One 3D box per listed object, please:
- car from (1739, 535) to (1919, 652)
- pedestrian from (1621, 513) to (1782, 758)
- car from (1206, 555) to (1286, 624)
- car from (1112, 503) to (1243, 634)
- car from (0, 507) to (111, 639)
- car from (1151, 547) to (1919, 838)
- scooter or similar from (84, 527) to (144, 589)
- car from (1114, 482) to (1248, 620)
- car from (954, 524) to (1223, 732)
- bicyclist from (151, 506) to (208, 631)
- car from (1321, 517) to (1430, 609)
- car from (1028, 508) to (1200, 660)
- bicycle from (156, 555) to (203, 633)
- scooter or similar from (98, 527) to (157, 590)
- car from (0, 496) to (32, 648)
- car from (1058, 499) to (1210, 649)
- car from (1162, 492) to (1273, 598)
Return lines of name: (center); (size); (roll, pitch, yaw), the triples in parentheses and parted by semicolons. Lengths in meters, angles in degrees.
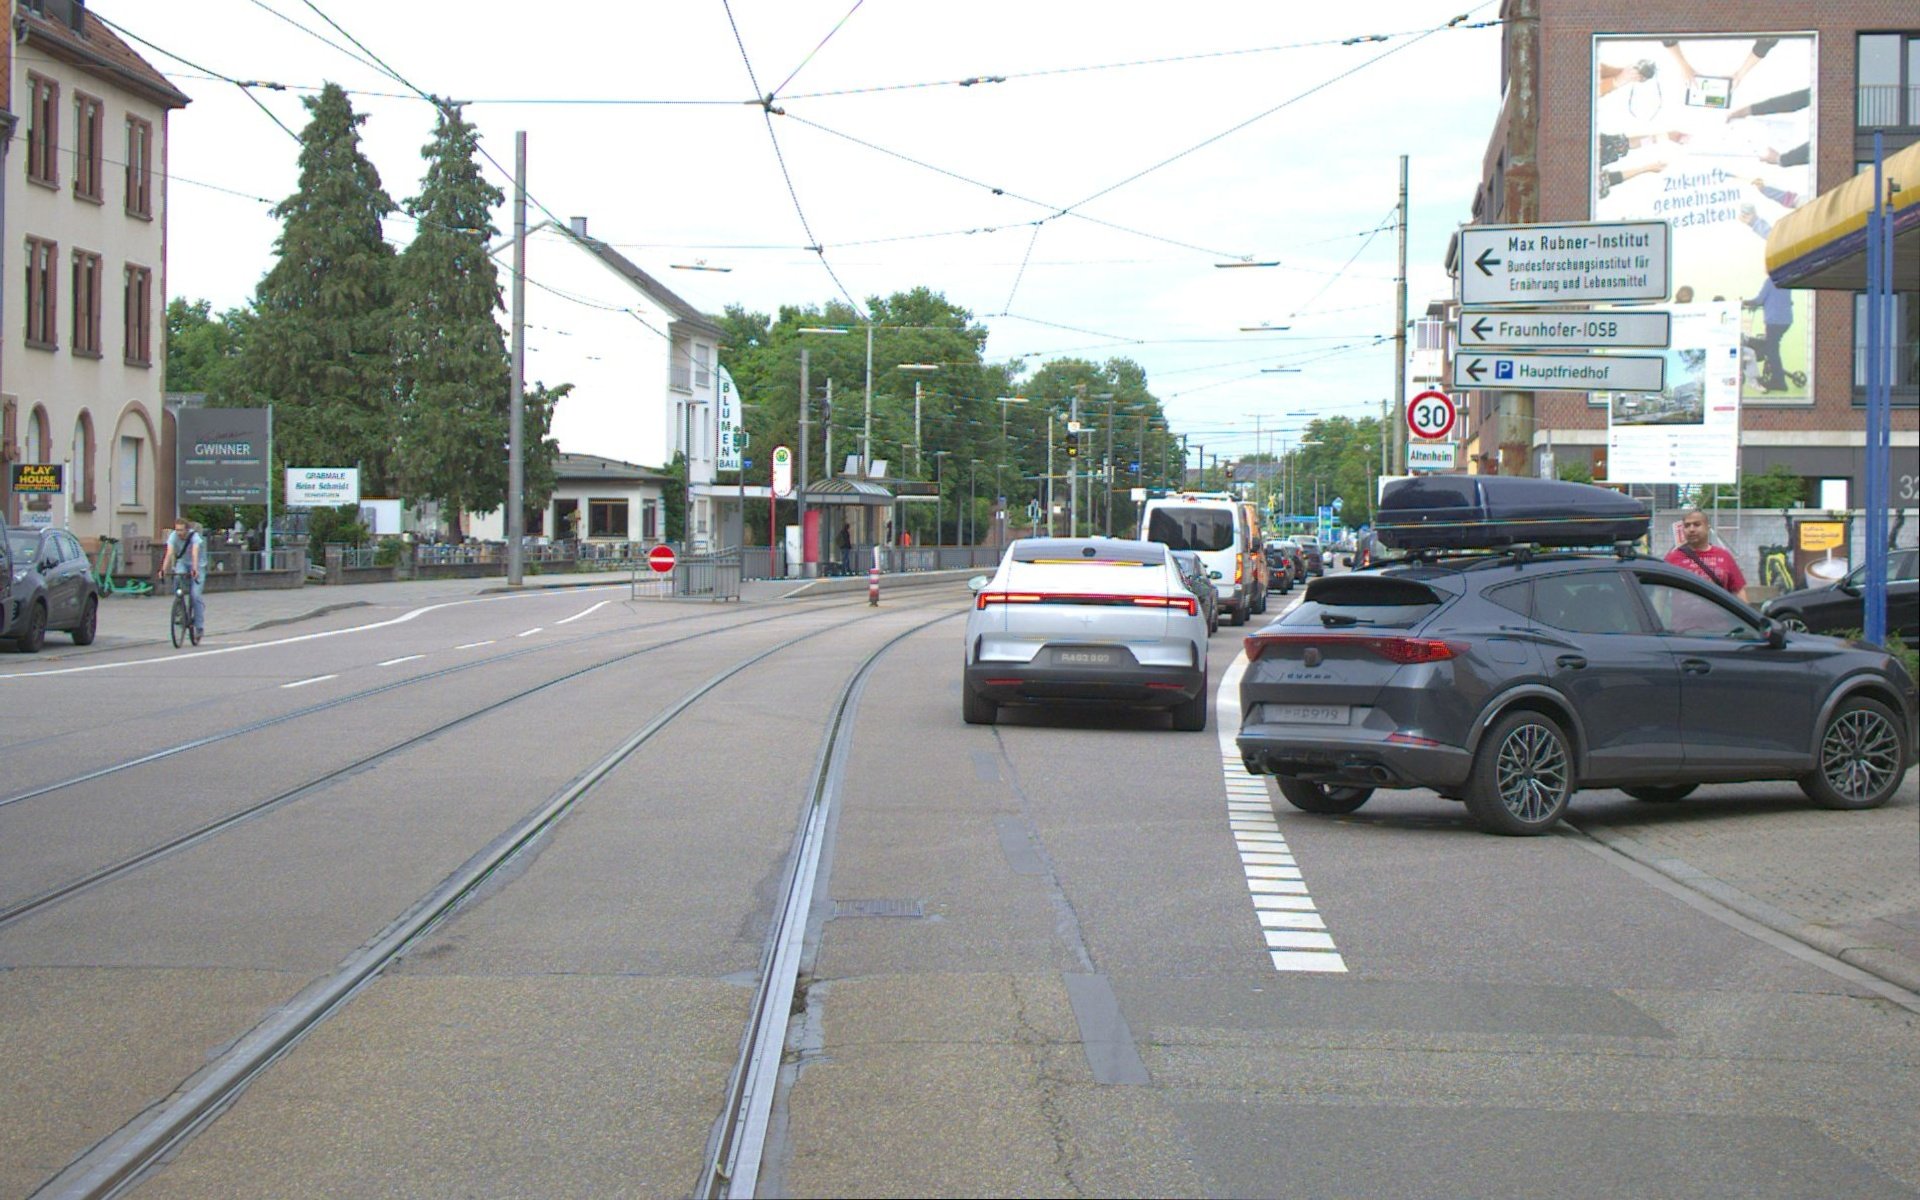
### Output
car: (12.307, -0.081, 43.290); (1.946, 1.422, 4.886); (0, 1, -33)
pedestrian: (5.386, 0.251, 25.013); (0.972, 1.732, 0.861); (-1, 0, 2)
car: (8.789, -0.334, 105.866); (1.993, 2.007, 4.000); (2, 0, -1)
car: (3.533, -0.520, 56.475); (1.994, 2.007, 4.000); (2, 0, 3)
car: (-13.123, -0.403, 47.079); (1.844, 1.712, 4.193); (2, 1, 1)
car: (3.433, 0.473, 19.722); (4.312, 1.492, 1.996); (0, 1, -34)
scooter or similar: (-16.679, -0.824, 67.784); (1.049, 1.184, 0.318); (2, 0, -33)
car: (4.111, -0.903, 64.723); (2.216, 2.415, 4.951); (2, 0, 1)
car: (0.996, 0.181, 28.871); (1.981, 1.544, 4.183); (2, 1, -1)
bicyclist: (-11.023, -0.451, 48.581); (0.735, 1.743, 0.979); (-1, 1, -11)
car: (8.742, -0.777, 72.653); (1.874, 1.817, 4.096); (2, 0, 2)
car: (1.889, -0.209, 43.278); (1.969, 1.750, 3.838); (2, 0, 1)
bicycle: (-10.998, -0.099, 48.469); (0.586, 1.070, 1.958); (-1, 1, -11)
scooter or similar: (-16.303, -0.807, 67.315); (1.049, 1.184, 0.318); (2, 0, -33)
car: (-12.878, -0.372, 41.147); (1.992, 1.880, 4.998); (2, 1, 2)
car: (2.457, -0.374, 49.519); (1.993, 2.007, 4.000); (2, 0, 1)
car: (5.490, -1.163, 73.850); (2.139, 2.138, 4.743); (2, 0, 2)
